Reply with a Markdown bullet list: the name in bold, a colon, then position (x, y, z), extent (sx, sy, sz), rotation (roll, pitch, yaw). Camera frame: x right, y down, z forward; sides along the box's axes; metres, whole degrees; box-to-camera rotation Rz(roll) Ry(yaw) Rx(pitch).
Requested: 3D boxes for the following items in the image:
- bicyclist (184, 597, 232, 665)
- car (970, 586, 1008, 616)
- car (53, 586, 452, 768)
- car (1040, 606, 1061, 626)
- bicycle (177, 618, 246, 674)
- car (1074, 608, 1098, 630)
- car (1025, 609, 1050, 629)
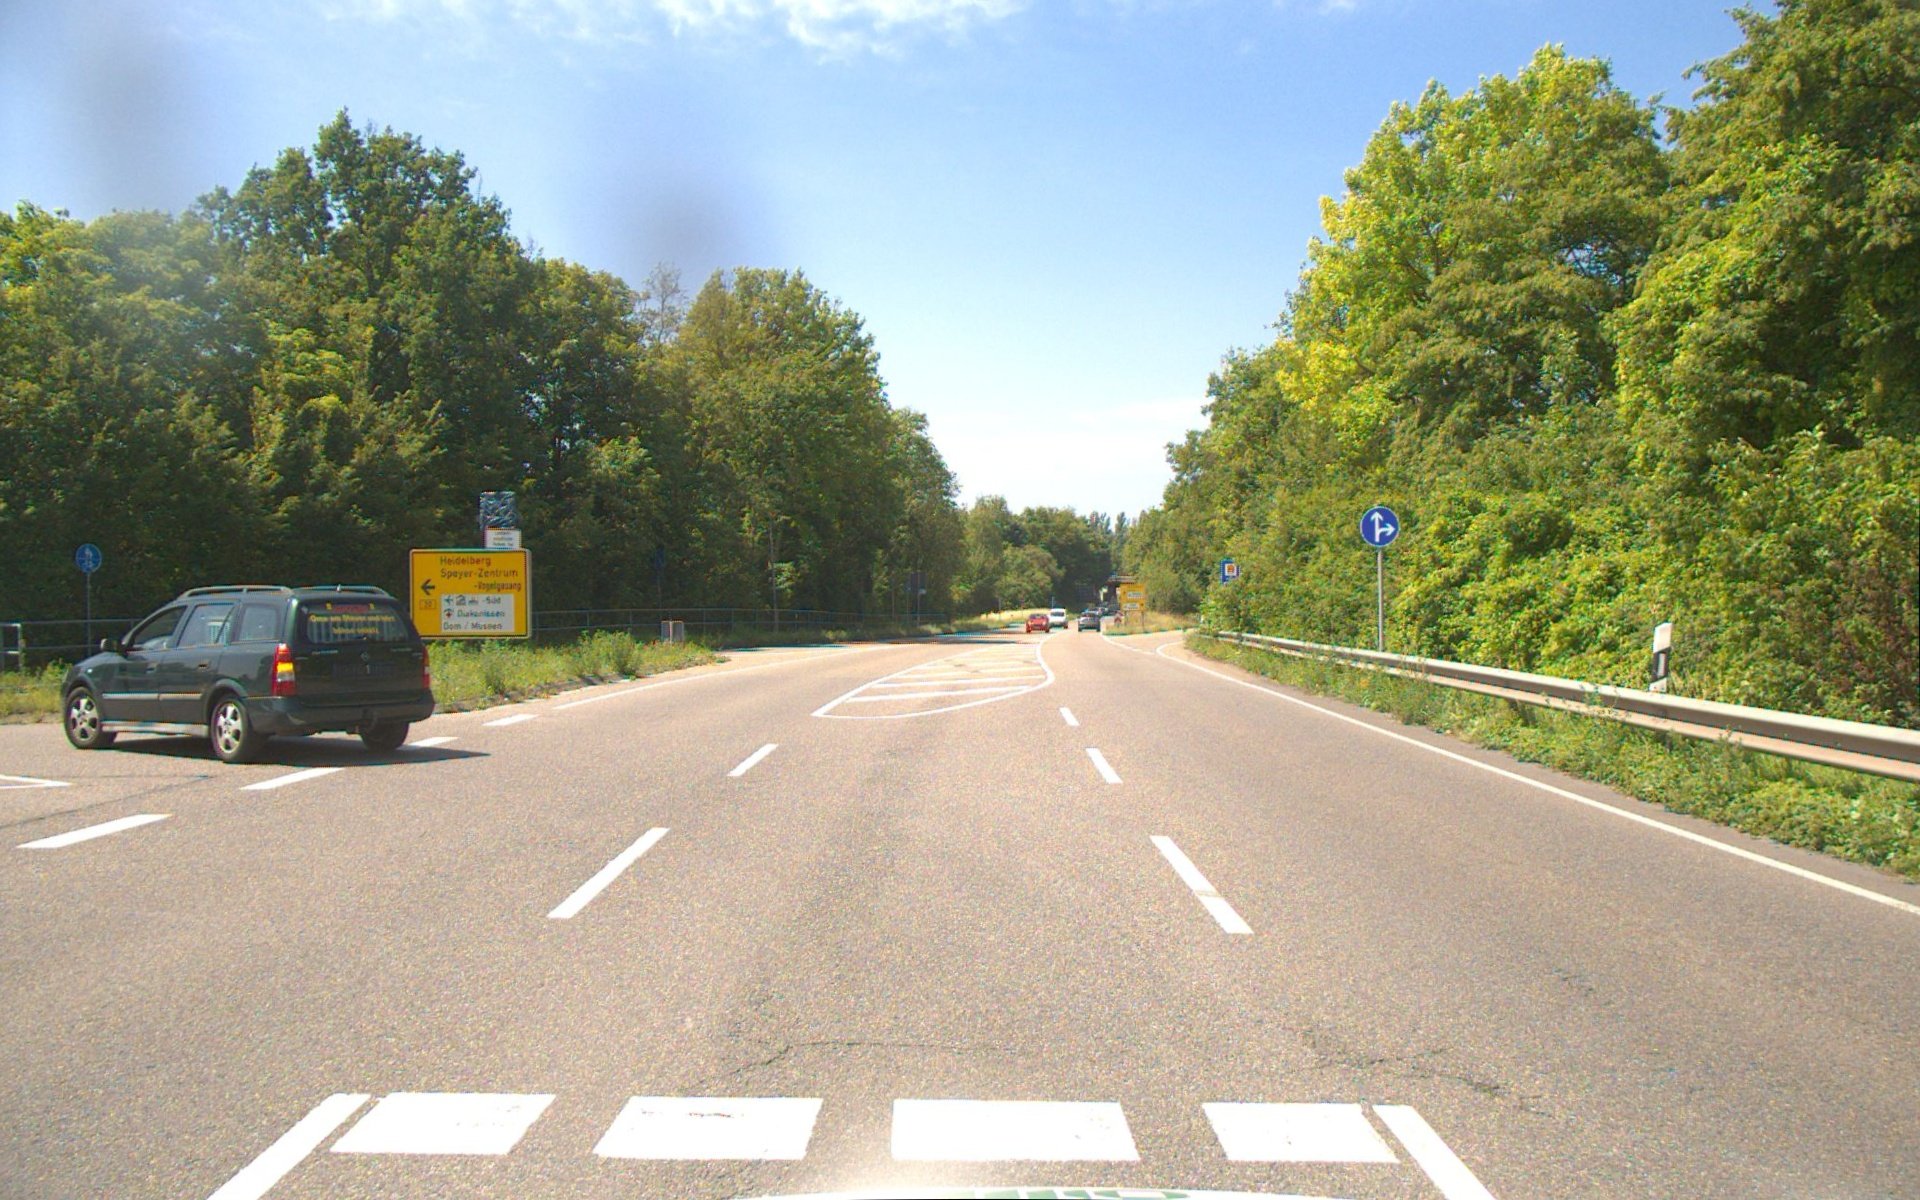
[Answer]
- **bicyclist**: position (-15.584, 0.630, 34.279), extent (0.595, 1.387, 0.689), rotation (0, 0, 23)
- **car**: position (3.137, 0.117, 179.863), extent (1.971, 3.282, 4.763), rotation (0, 0, -28)
- **car**: position (-6.568, 0.624, 15.255), extent (3.720, 1.482, 1.720), rotation (0, 0, 35)
- **car**: position (8.441, 1.504, 154.594), extent (1.952, 1.760, 4.276), rotation (0, 0, 3)
- **bicycle**: position (-15.556, 0.938, 34.362), extent (1.447, 1.133, 0.437), rotation (0, 0, 23)
- **car**: position (10.174, 1.529, 133.698), extent (1.805, 1.714, 4.002), rotation (0, 1, 3)
- **car**: position (5.896, 1.457, 125.678), extent (1.772, 1.483, 3.760), rotation (0, 0, 4)
